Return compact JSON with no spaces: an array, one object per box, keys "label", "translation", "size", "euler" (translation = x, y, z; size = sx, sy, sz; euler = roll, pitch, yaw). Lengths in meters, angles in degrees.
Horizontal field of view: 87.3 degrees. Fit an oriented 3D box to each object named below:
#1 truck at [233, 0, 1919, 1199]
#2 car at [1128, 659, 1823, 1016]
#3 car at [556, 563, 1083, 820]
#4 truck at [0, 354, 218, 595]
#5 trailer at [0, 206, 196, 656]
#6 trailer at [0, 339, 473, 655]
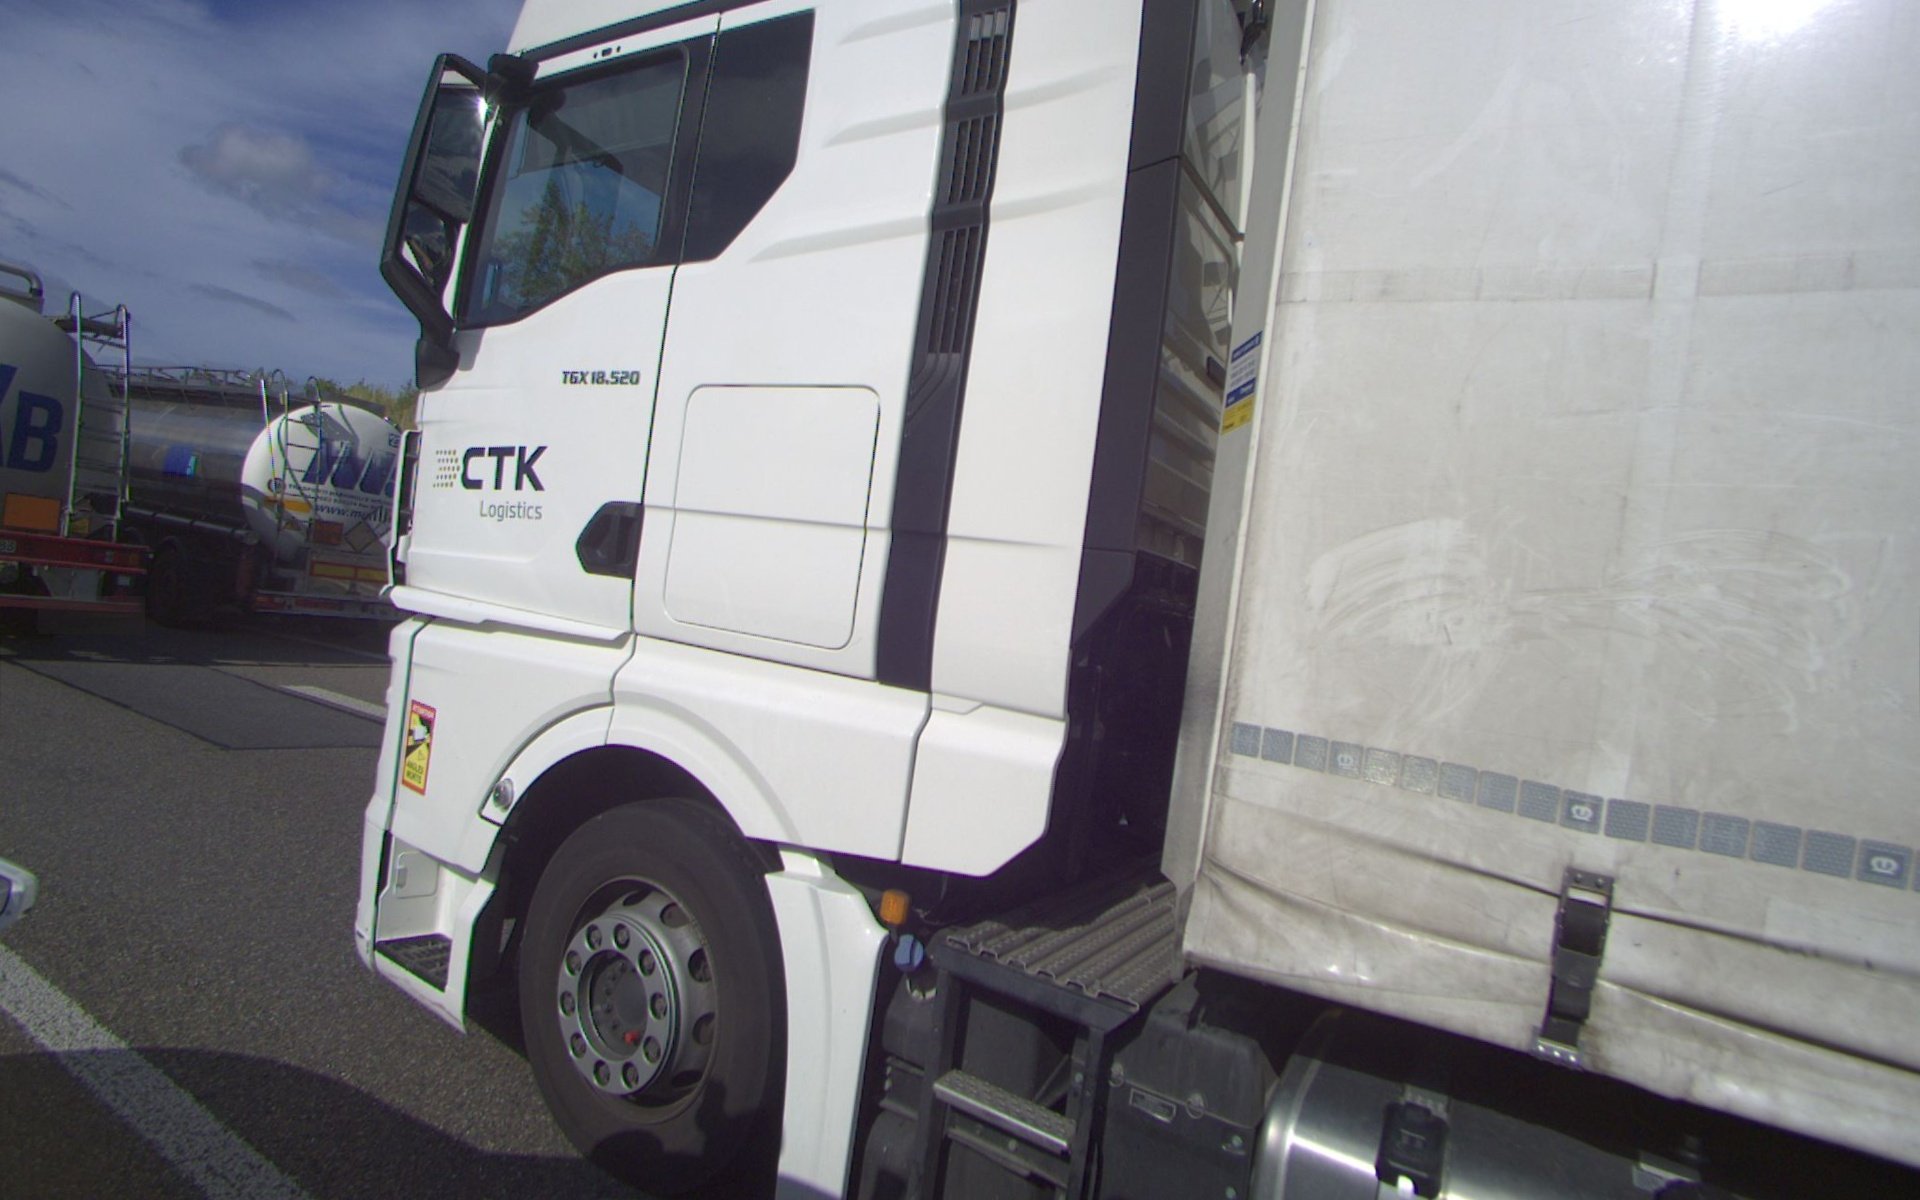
[{"label":"truck","translation":[1.250,-0.401,2.738],"size":[6.256,4.109,2.712],"euler":[7,0,31]},{"label":"car","translation":[3.245,1.368,6.893],"size":[3.675,1.368,1.636],"euler":[7,-1,31]},{"label":"car","translation":[-1.432,0.724,9.548],"size":[4.658,1.531,1.904],"euler":[7,-1,31]},{"label":"truck","translation":[-17.001,-2.312,18.770],"size":[6.664,3.617,2.533],"euler":[7,0,32]},{"label":"trailer","translation":[-12.534,-1.927,11.203],"size":[10.450,3.697,2.545],"euler":[7,-1,32]},{"label":"trailer","translation":[-12.052,-1.659,15.682],"size":[10.450,3.642,2.545],"euler":[7,0,32]}]
